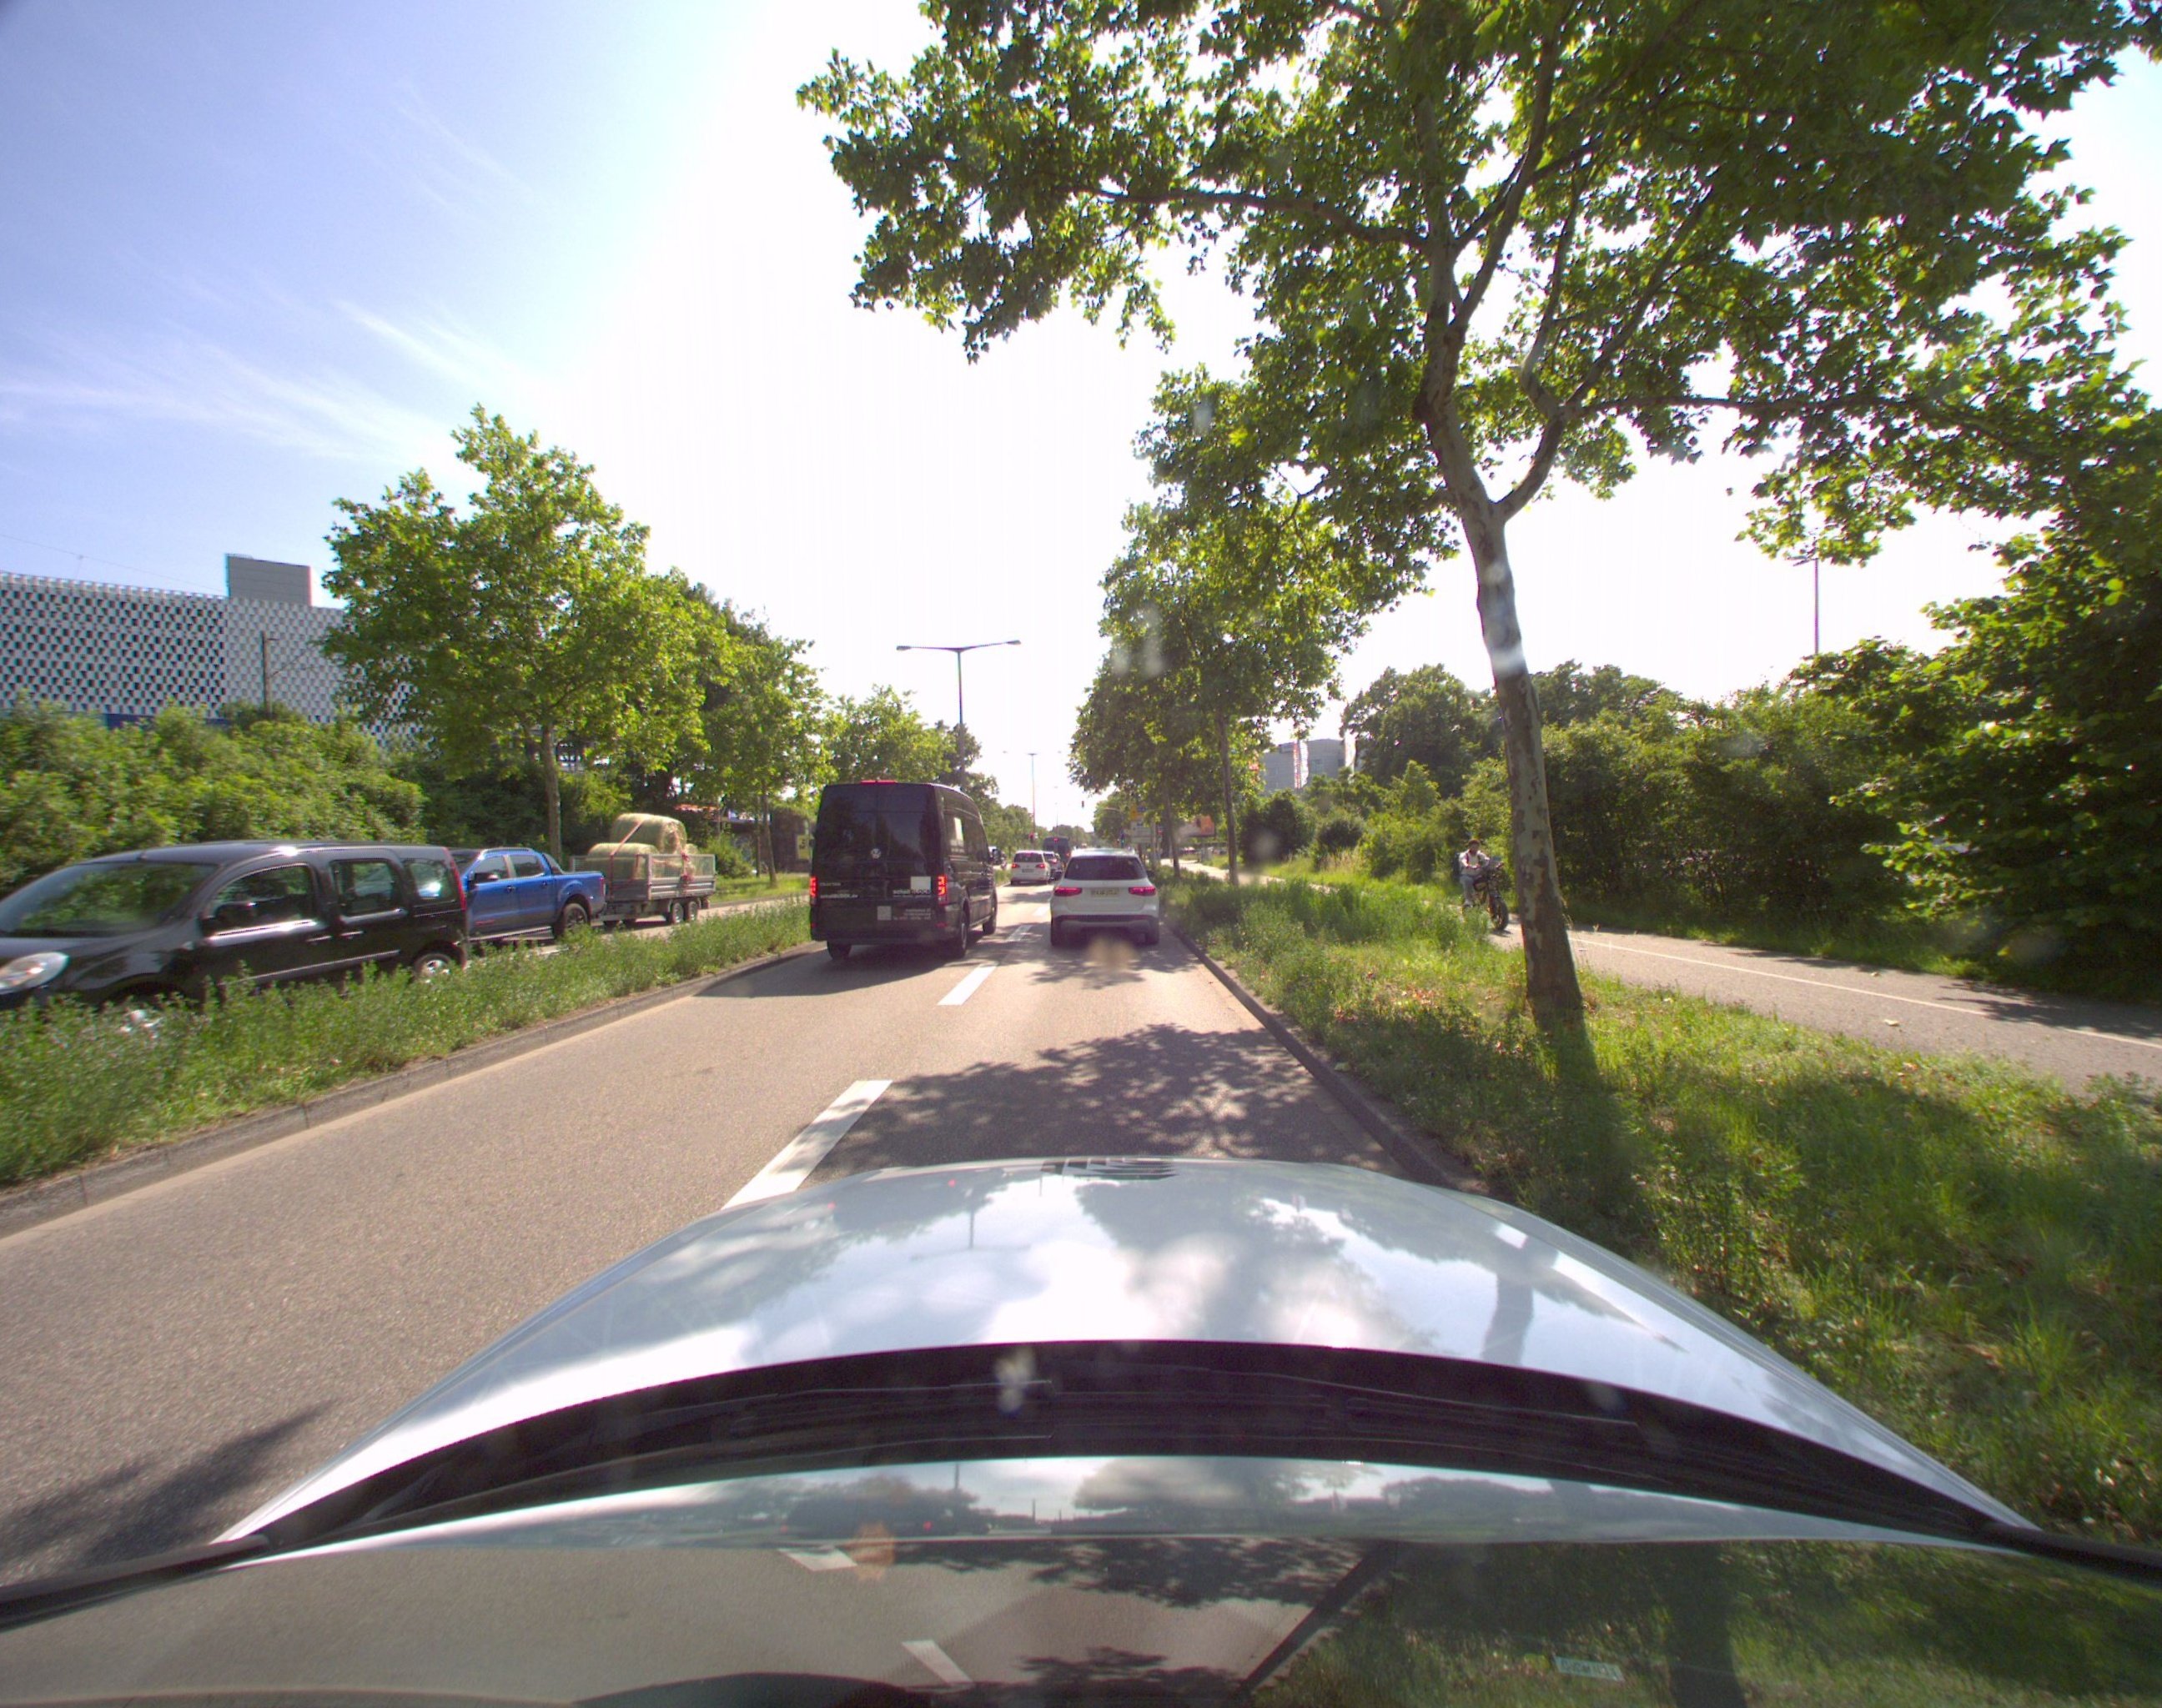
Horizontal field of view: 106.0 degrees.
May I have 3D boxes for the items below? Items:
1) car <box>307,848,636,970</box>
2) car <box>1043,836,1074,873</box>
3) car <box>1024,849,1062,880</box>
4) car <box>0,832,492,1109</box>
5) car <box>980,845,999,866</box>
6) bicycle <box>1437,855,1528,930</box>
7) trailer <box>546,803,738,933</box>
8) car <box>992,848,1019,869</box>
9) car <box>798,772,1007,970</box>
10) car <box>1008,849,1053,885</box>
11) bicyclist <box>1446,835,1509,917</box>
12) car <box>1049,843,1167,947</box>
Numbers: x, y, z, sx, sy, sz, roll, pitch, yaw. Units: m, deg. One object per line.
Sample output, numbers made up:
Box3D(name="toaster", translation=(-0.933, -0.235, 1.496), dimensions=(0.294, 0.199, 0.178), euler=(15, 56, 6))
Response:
Box3D(name="car", translation=(-10.502, 0.821, 14.752), dimensions=(1.758, 1.789, 5.378), euler=(0, 0, 2))
Box3D(name="car", translation=(-1.654, 0.057, 61.690), dimensions=(2.073, 2.656, 4.876), euler=(0, 0, 2))
Box3D(name="car", translation=(-2.061, 0.564, 45.510), dimensions=(1.765, 1.647, 4.086), euler=(-1, 0, 2))
Box3D(name="car", translation=(-7.847, 0.760, 7.436), dimensions=(1.724, 1.809, 4.234), euler=(0, 0, 2))
Box3D(name="car", translation=(-11.061, 0.160, 98.597), dimensions=(1.989, 2.418, 5.134), euler=(-1, 0, -3))
Box3D(name="bicycle", translation=(7.434, 0.664, 15.210), dimensions=(0.720, 1.299, 2.096), euler=(0, 0, 2))
Box3D(name="trailer", translation=(-10.332, 0.300, 19.688), dimensions=(1.873, 2.744, 4.830), euler=(0, 0, 2))
Box3D(name="car", translation=(-6.909, 0.430, 74.738), dimensions=(1.987, 1.882, 4.000), euler=(0, 0, 1))
Box3D(name="car", translation=(-2.646, 0.228, 13.869), dimensions=(2.008, 2.607, 6.170), euler=(0, 0, 2))
Box3D(name="car", translation=(-2.410, 0.602, 39.617), dimensions=(1.765, 1.647, 4.354), euler=(-1, 0, 2))
Box3D(name="bicyclist", translation=(7.455, 0.400, 15.349), dimensions=(0.701, 1.477, 1.010), euler=(0, 0, 2))
Box3D(name="car", translation=(0.387, 0.648, 14.948), dimensions=(1.848, 1.607, 3.998), euler=(-1, 0, -1))
